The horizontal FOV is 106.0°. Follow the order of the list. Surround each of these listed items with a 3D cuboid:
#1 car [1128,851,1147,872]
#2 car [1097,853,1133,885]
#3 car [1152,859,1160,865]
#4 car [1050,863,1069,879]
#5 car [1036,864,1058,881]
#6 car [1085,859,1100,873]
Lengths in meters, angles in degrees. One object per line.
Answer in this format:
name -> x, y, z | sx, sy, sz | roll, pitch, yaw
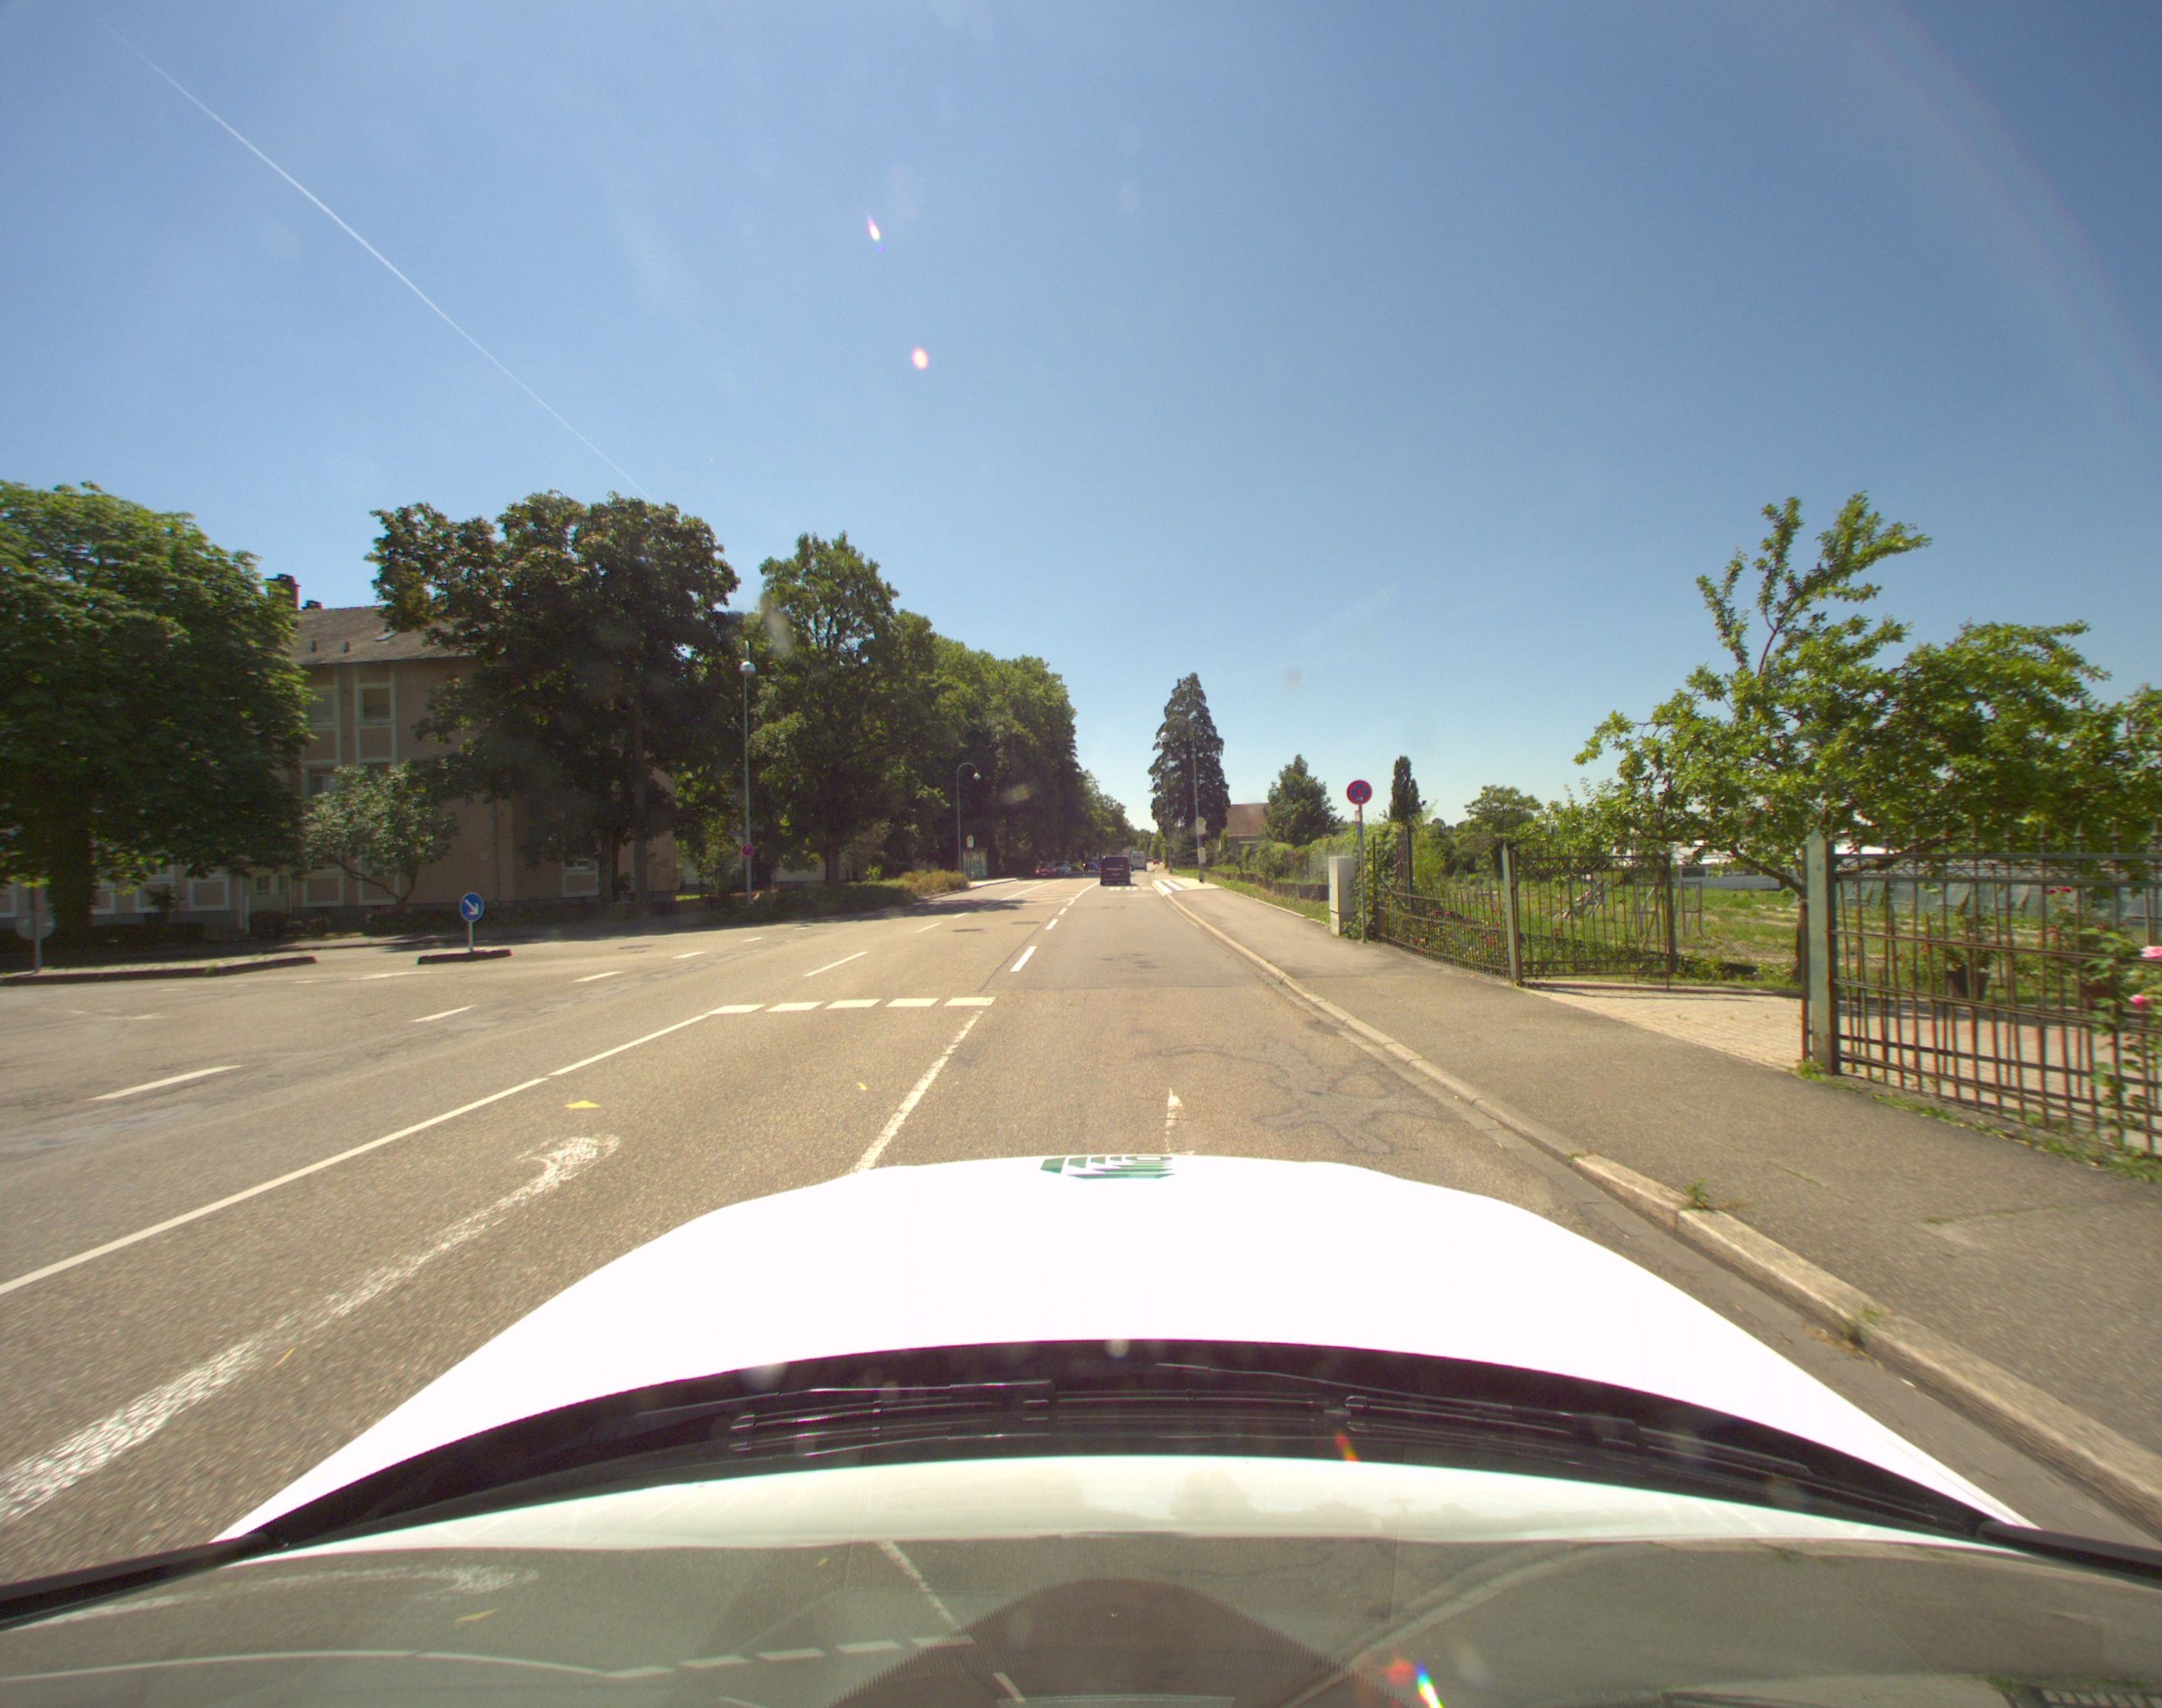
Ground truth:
car -> 7.446, 0.902, 107.283 | 2.113, 2.678, 5.662 | 0, 0, 0
car -> 2.074, 0.893, 50.726 | 1.988, 1.893, 3.998 | 0, 0, -1
car -> 20.910, 2.322, 226.827 | 1.850, 1.643, 4.002 | 0, 0, 2
car -> -2.084, 1.619, 79.879 | 1.688, 1.460, 3.634 | 0, 0, -4
car -> -2.918, 1.588, 70.461 | 1.544, 1.450, 3.693 | 0, -1, 3
car -> 1.646, 1.622, 113.544 | 1.987, 1.910, 4.990 | -1, 0, 0
